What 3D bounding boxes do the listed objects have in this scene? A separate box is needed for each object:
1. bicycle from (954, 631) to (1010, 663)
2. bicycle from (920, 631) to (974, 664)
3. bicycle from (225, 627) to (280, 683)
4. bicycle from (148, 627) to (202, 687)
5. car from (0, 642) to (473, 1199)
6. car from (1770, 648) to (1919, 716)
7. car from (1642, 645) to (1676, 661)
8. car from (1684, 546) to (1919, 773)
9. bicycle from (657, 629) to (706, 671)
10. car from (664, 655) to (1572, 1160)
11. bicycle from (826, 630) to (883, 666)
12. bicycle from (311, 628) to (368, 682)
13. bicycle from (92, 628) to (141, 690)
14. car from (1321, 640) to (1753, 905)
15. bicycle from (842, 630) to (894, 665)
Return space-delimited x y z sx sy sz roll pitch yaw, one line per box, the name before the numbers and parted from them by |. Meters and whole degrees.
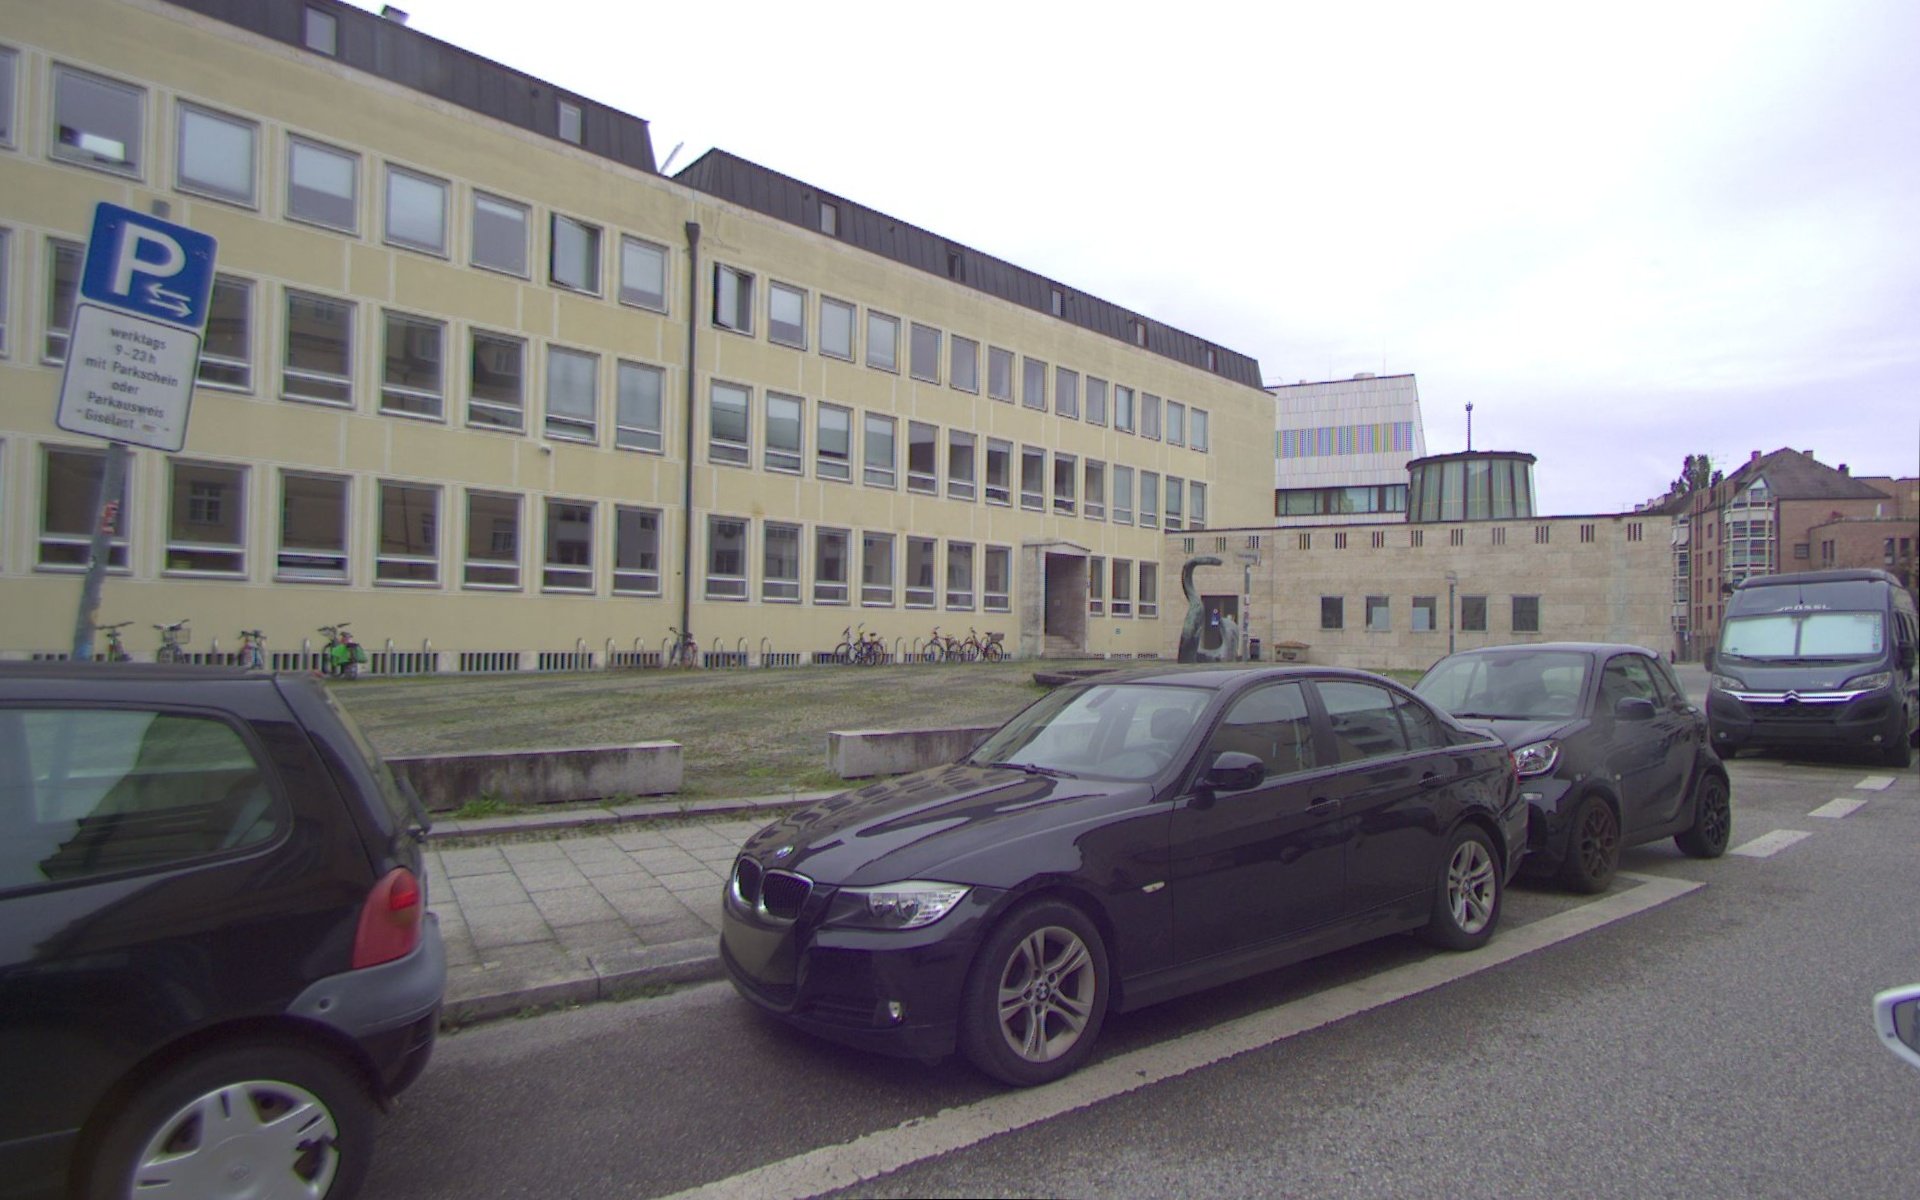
bicycle | 0.723 1.560 33.799 1.923 1.028 0.623 0 -2 40
bicycle | -0.435 1.539 32.991 0.621 1.028 1.928 2 -2 -43
bicycle | -13.948 1.058 19.776 0.621 1.028 1.928 2 -2 -43
bicycle | -14.612 1.031 18.687 0.621 1.028 1.928 2 -2 -43
car | -3.027 0.837 2.286 3.277 1.472 1.647 2 -4 -33
car | 21.636 1.913 23.312 4.003 1.500 1.687 -2 -5 10
car | 73.134 5.559 105.093 1.777 1.492 4.118 1 -1 18
car | 12.578 0.820 14.718 5.977 2.676 2.143 2 -3 -44
bicycle | -7.377 1.308 26.556 0.619 1.028 1.933 2 -2 -36
car | 1.024 0.985 4.910 4.412 1.424 1.787 2 -4 -36
bicycle | -3.192 1.433 30.226 1.926 1.028 0.622 0 -2 44
bicycle | -12.749 1.107 20.628 0.621 1.028 1.928 2 -2 -43
bicycle | -15.109 1.025 18.018 0.620 1.028 1.931 2 -2 -39
car | 4.252 1.076 7.345 2.949 1.521 1.659 2 -4 -36
bicycle | -2.860 1.444 31.091 0.620 1.028 1.931 2 -2 -39
